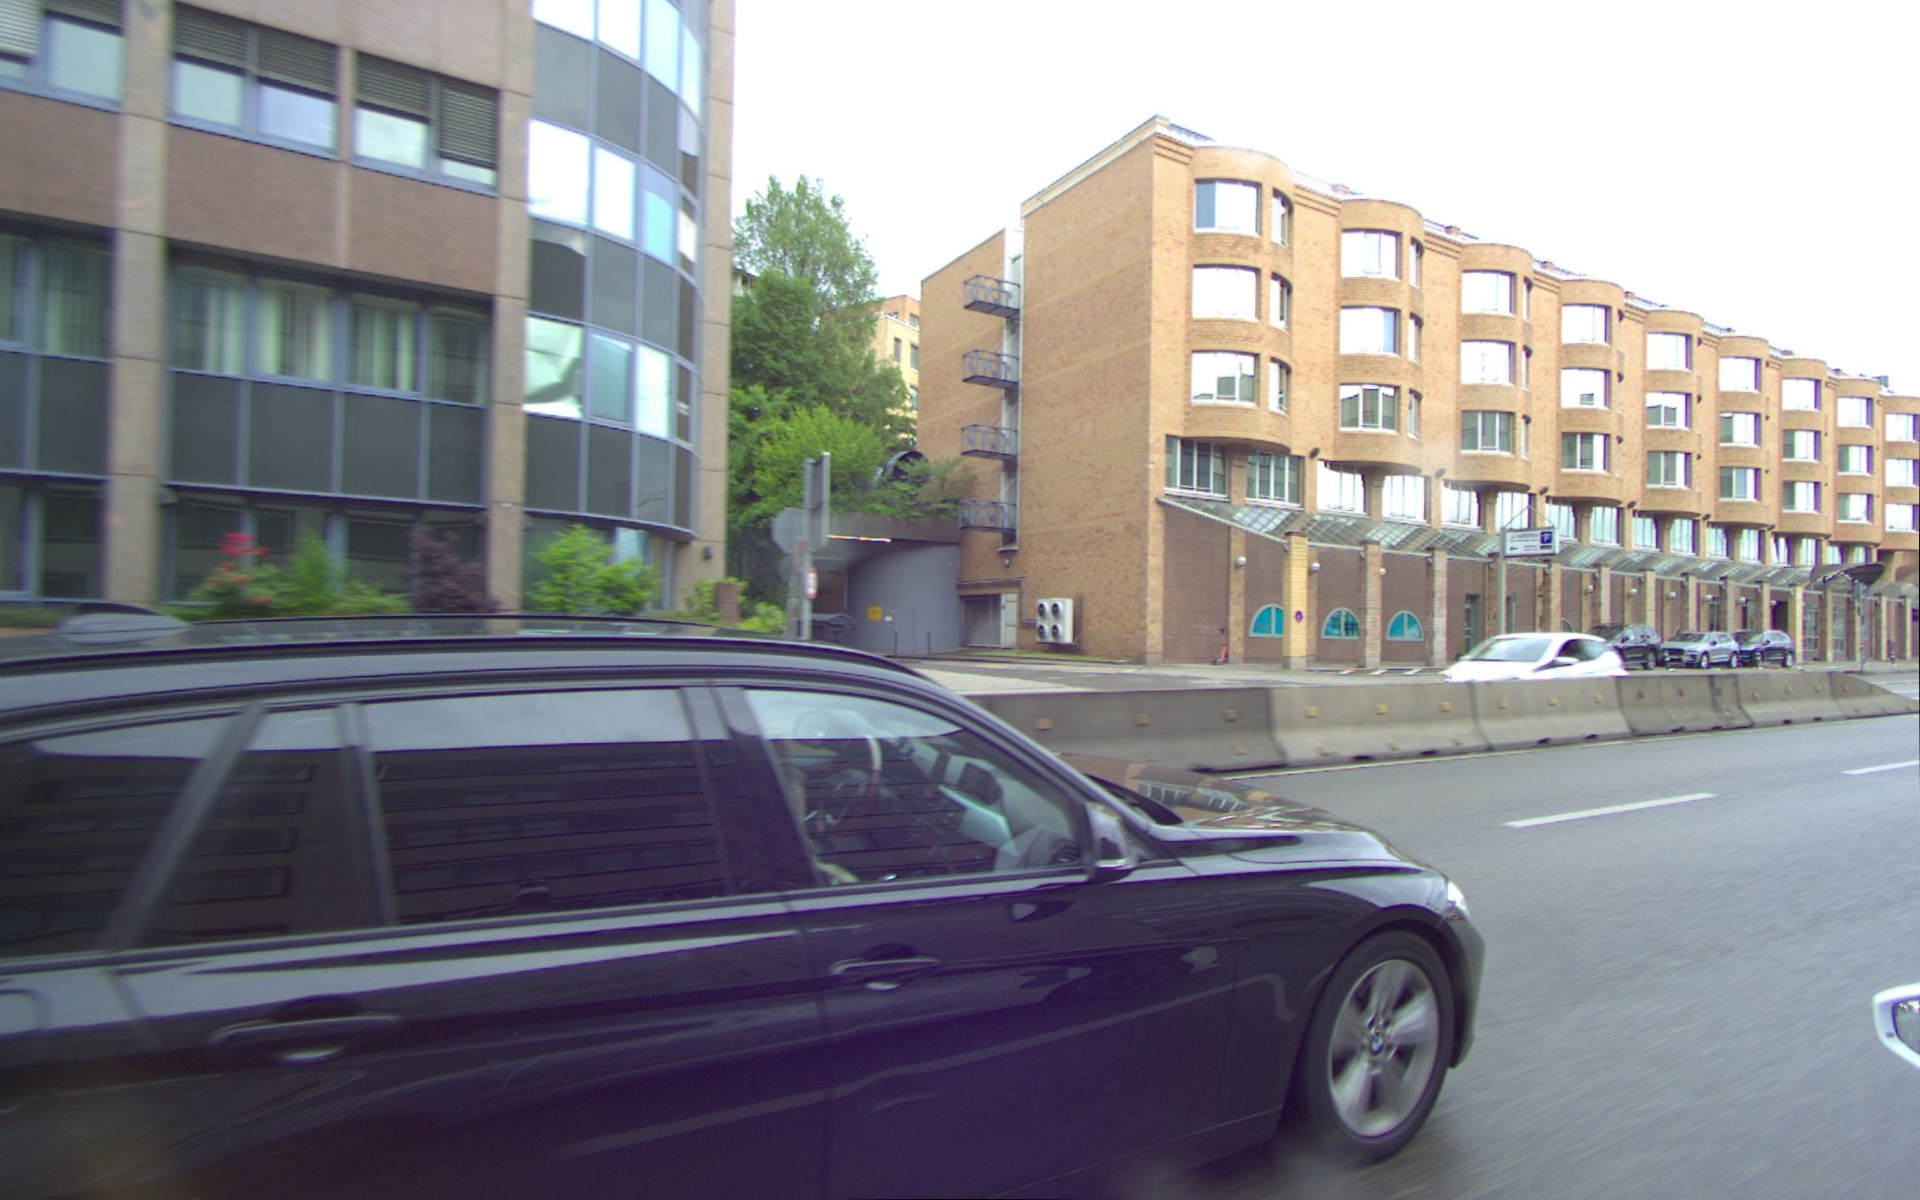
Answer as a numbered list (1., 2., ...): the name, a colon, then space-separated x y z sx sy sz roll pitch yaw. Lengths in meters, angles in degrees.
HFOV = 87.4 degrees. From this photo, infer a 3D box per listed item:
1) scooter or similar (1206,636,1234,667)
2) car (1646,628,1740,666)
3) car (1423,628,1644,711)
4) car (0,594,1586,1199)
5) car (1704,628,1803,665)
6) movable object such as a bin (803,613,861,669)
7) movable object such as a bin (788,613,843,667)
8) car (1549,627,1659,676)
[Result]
1. scooter or similar: 9.156 1.809 35.342 1.037 1.077 0.445 2 -2 -41
2. car: 33.395 2.128 45.742 4.490 1.615 1.983 1 -1 -32
3. car: 9.696 1.121 16.934 3.682 1.247 1.605 1 -1 -30
4. car: -0.476 0.765 2.698 4.602 1.462 1.759 1 -1 -31
5. car: 38.434 2.234 48.635 4.987 1.713 1.986 1 -1 -28
6. movable object such as a bin: -3.536 1.130 27.726 1.330 1.499 1.241 1 -1 -21
7. movable object such as a bin: -4.210 1.155 29.192 1.330 1.499 1.241 1 -1 -22
8. car: 26.910 2.106 41.920 4.959 1.911 1.983 1 -1 -32
